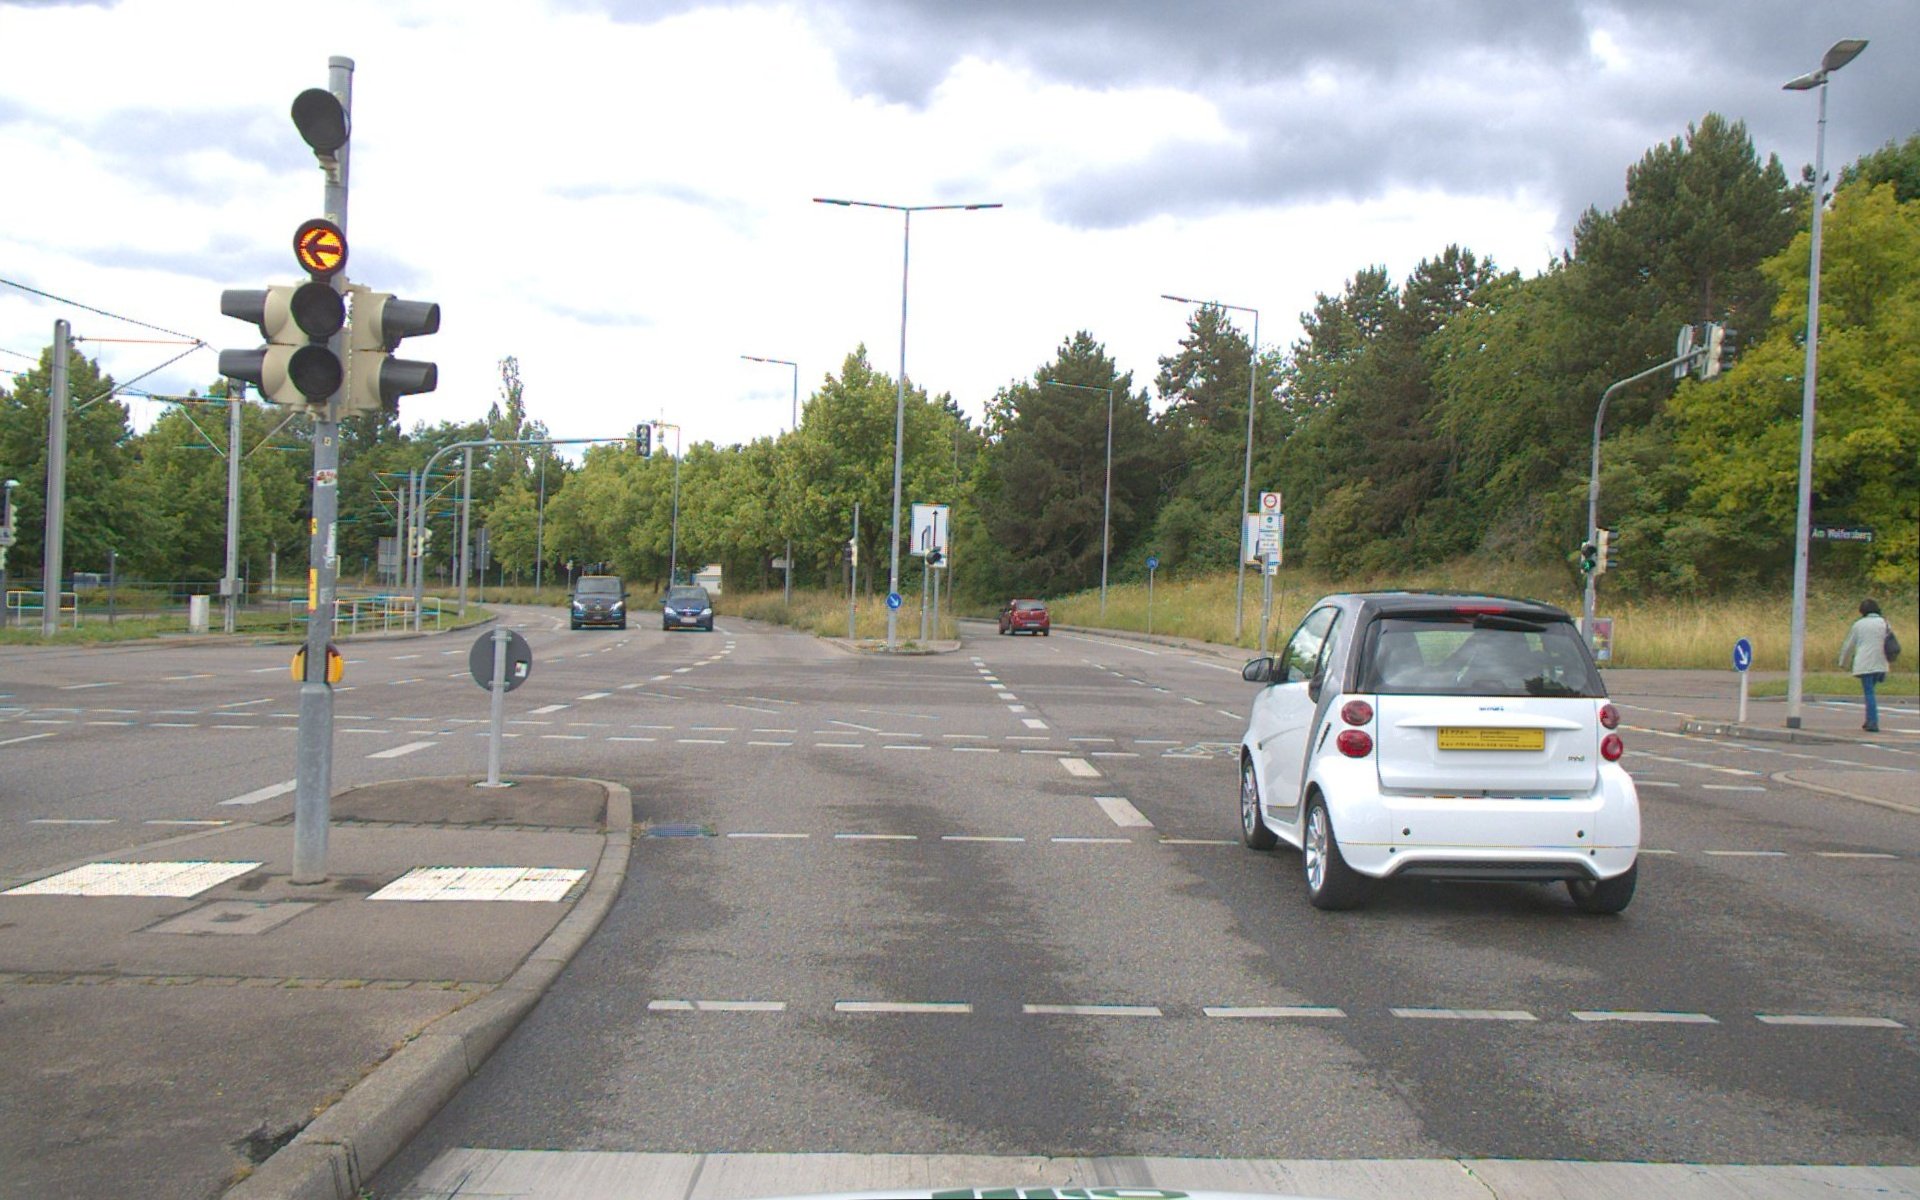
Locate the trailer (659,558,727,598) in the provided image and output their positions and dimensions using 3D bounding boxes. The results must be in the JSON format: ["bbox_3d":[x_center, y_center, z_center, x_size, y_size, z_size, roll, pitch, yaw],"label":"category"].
[{"bbox_3d":[-20.930,-1.693,129.476,2.728,3.065,6.003,1,-1,-38],"label":"trailer"}]

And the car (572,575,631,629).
[{"bbox_3d":[-12.871,0.070,59.593,1.853,1.844,5.080,0,0,-10],"label":"car"}]

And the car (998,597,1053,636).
[{"bbox_3d":[2.797,0.702,71.146,1.750,1.631,3.881,1,0,-7],"label":"car"}]

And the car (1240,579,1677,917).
[{"bbox_3d":[2.550,0.695,9.062,1.559,1.543,2.766,1,0,0],"label":"car"}]

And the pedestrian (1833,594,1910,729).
[{"bbox_3d":[11.662,0.773,21.179,0.630,1.691,0.714,1,-1,6],"label":"pedestrian"}]

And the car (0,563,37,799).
[{"bbox_3d":[-7.610,0.506,9.699,1.719,1.555,3.602,1,0,18],"label":"car"}]

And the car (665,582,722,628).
[{"bbox_3d":[-9.441,0.182,58.737,1.702,1.535,3.656,1,0,-5],"label":"car"}]
